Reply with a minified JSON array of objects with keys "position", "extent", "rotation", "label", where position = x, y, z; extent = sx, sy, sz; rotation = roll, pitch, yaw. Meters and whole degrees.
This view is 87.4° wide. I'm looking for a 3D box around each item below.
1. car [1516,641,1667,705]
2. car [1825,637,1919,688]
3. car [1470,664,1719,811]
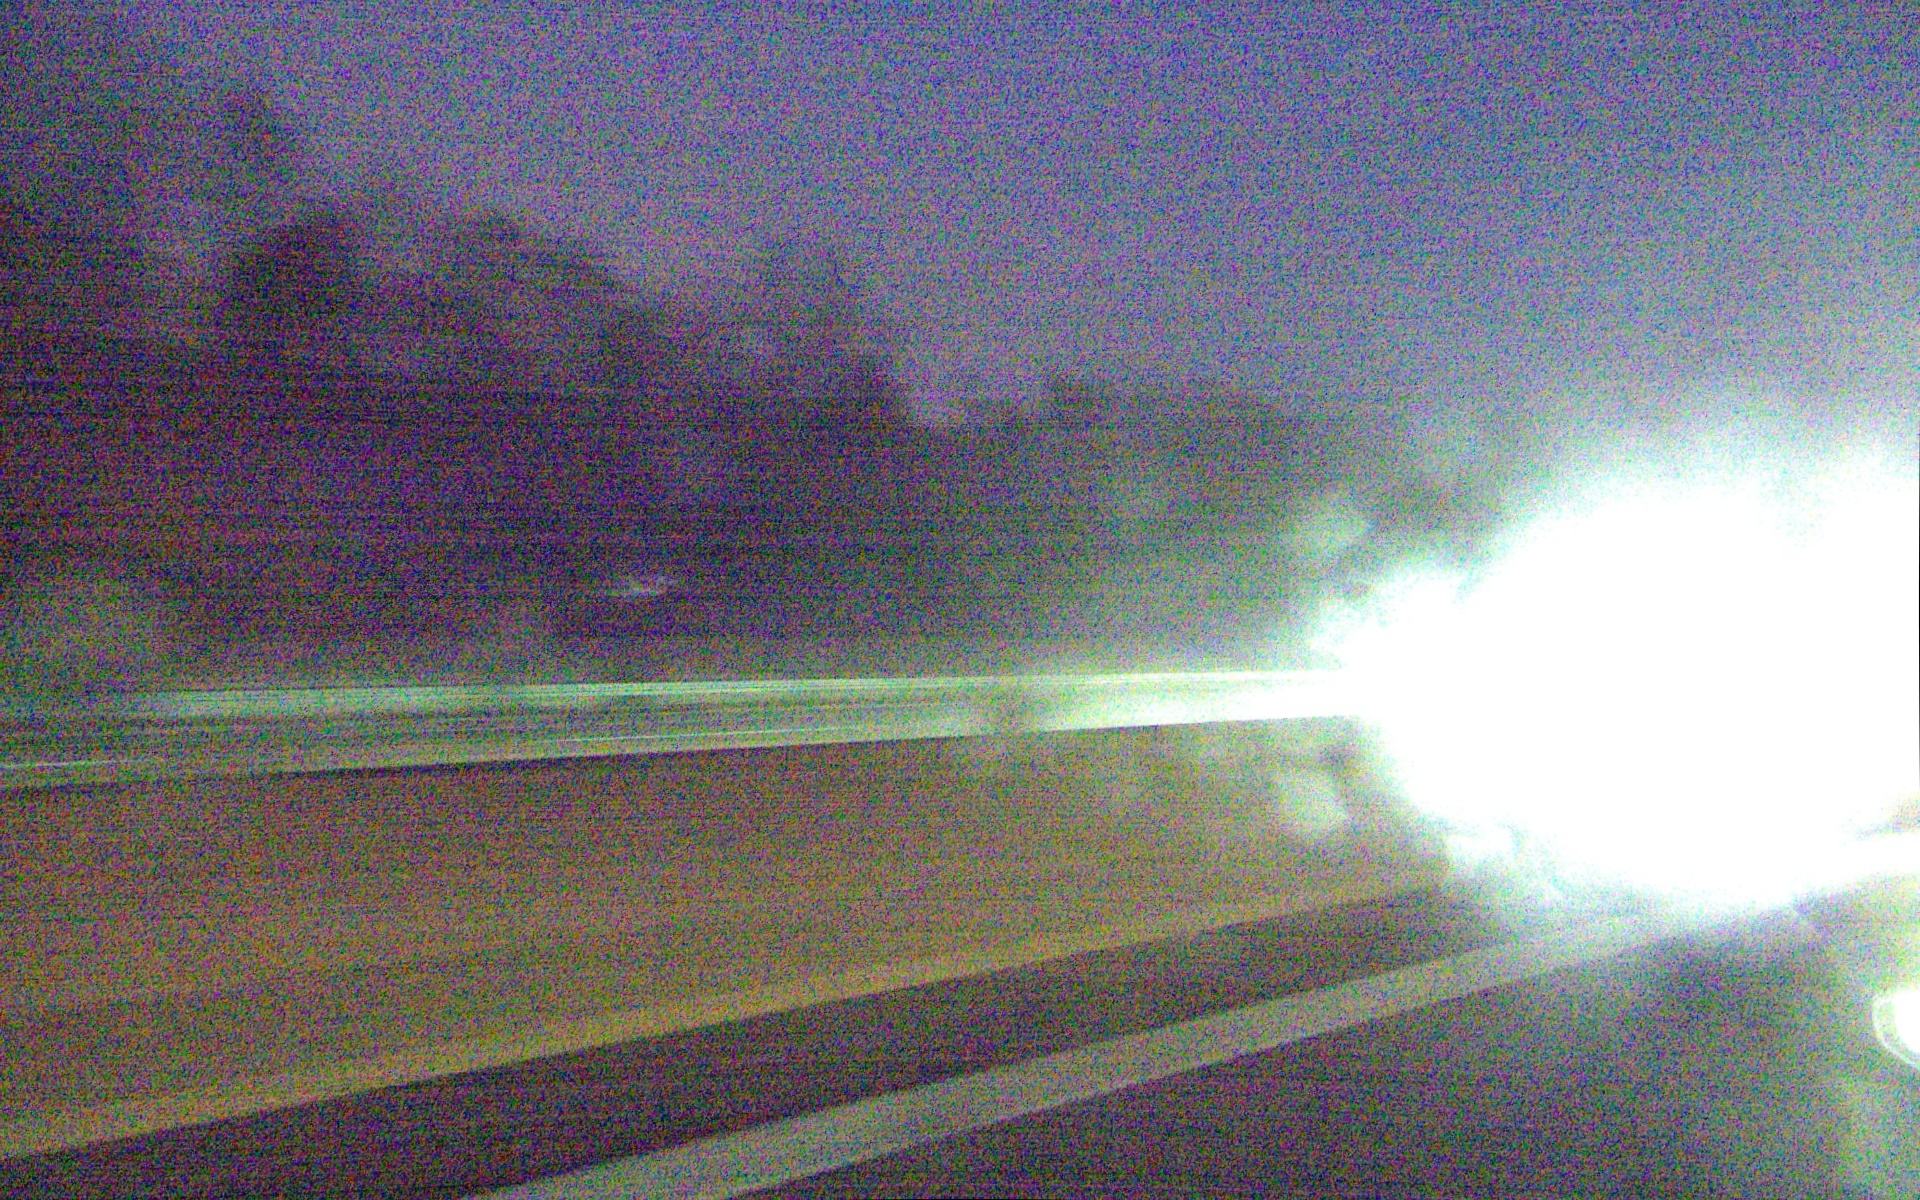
[{"position":[19.334,2.186,30.700],"extent":[4.904,1.797,1.983],"rotation":[2,-2,-32],"label":"car"},{"position":[36.155,2.425,39.402],"extent":[4.904,1.797,1.983],"rotation":[2,0,-32],"label":"car"},{"position":[11.278,2.298,17.810],"extent":[4.243,2.041,1.984],"rotation":[0,1,-30],"label":"car"}]
